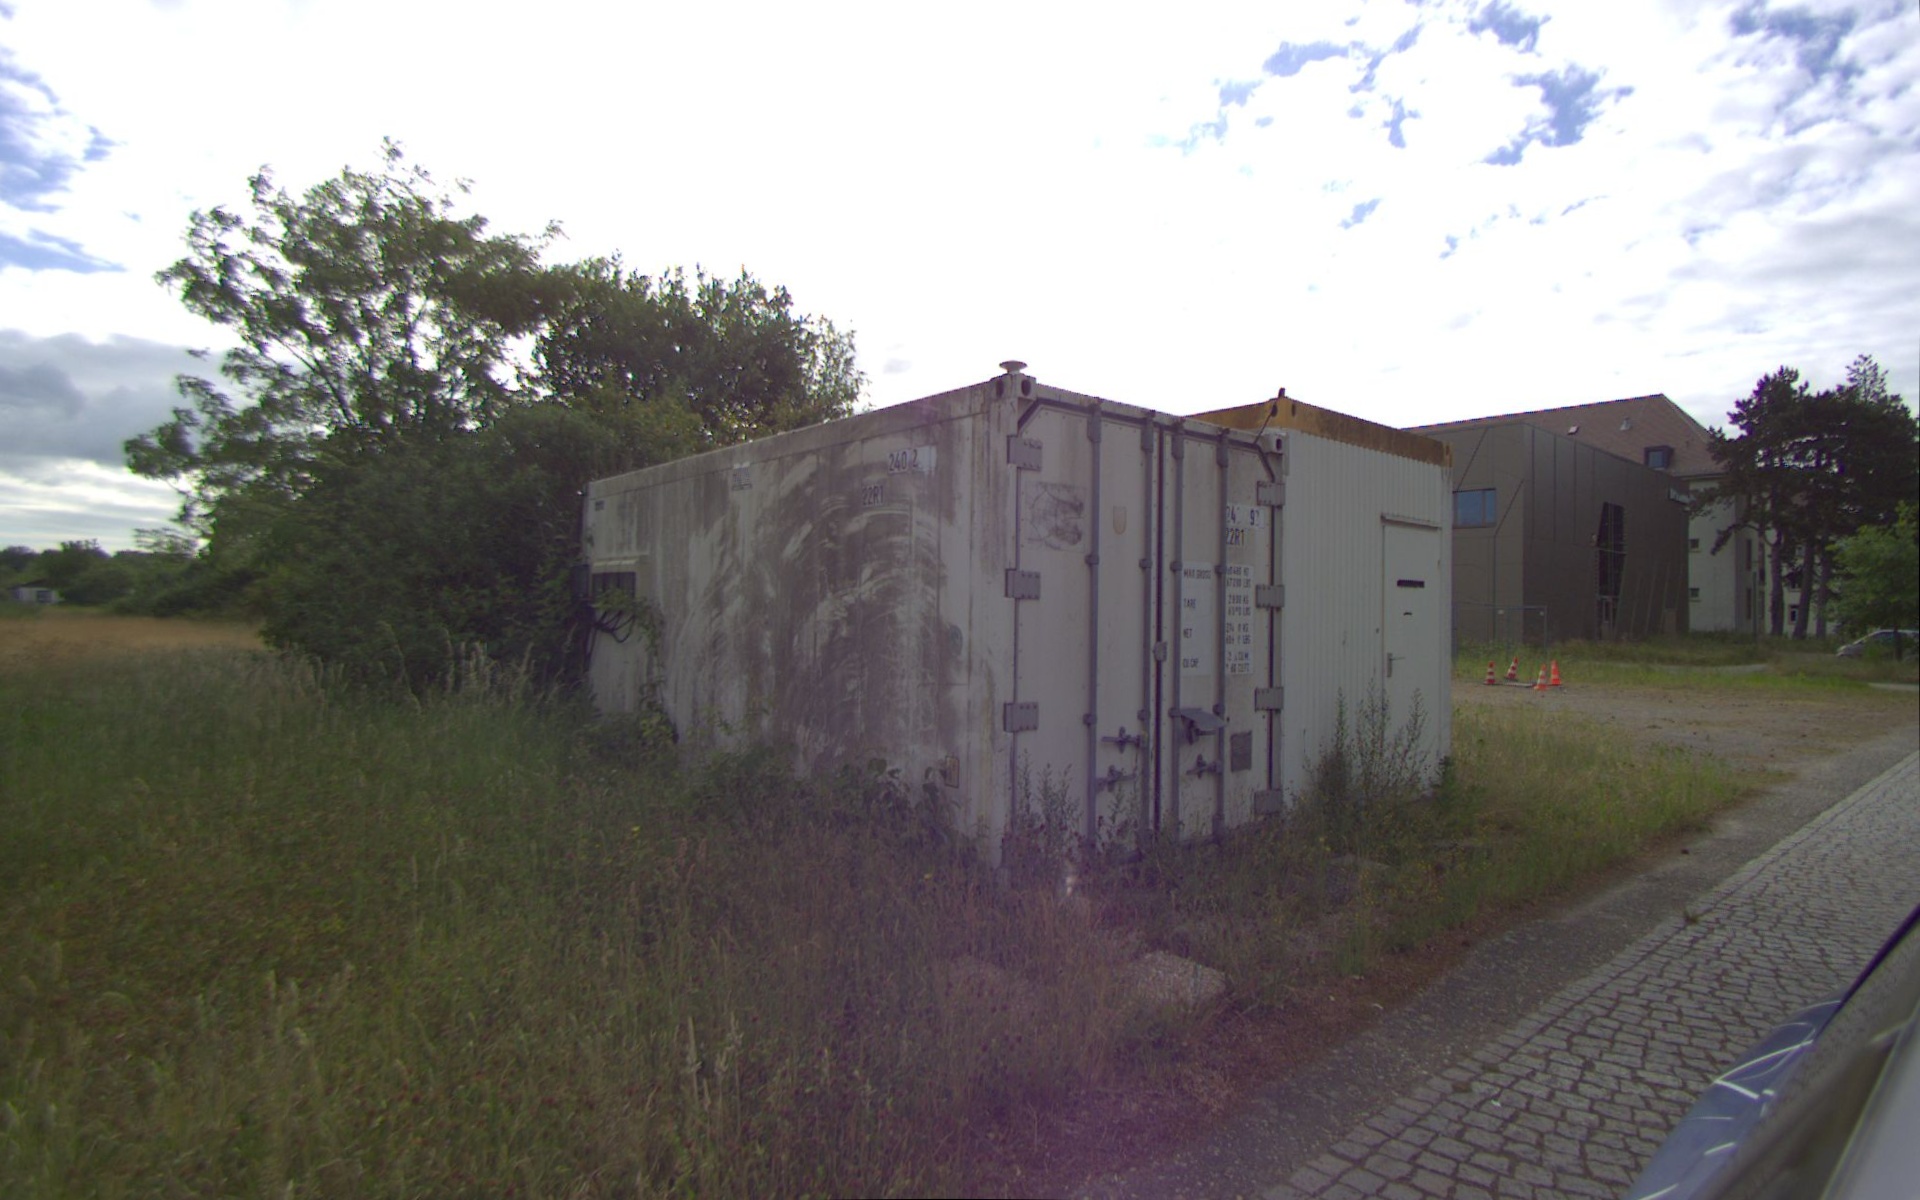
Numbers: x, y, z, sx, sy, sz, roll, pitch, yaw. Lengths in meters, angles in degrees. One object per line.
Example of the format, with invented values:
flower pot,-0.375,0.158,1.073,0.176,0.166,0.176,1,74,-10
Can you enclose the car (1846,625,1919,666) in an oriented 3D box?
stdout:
car,38.219,1.867,40.064,1.899,1.468,4.532,2,1,-42

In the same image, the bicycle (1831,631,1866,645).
bicycle,74.843,3.163,85.275,0.705,1.109,2.160,2,-1,-44

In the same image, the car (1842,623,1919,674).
car,32.820,1.697,35.364,1.653,1.602,2.747,2,1,-40
